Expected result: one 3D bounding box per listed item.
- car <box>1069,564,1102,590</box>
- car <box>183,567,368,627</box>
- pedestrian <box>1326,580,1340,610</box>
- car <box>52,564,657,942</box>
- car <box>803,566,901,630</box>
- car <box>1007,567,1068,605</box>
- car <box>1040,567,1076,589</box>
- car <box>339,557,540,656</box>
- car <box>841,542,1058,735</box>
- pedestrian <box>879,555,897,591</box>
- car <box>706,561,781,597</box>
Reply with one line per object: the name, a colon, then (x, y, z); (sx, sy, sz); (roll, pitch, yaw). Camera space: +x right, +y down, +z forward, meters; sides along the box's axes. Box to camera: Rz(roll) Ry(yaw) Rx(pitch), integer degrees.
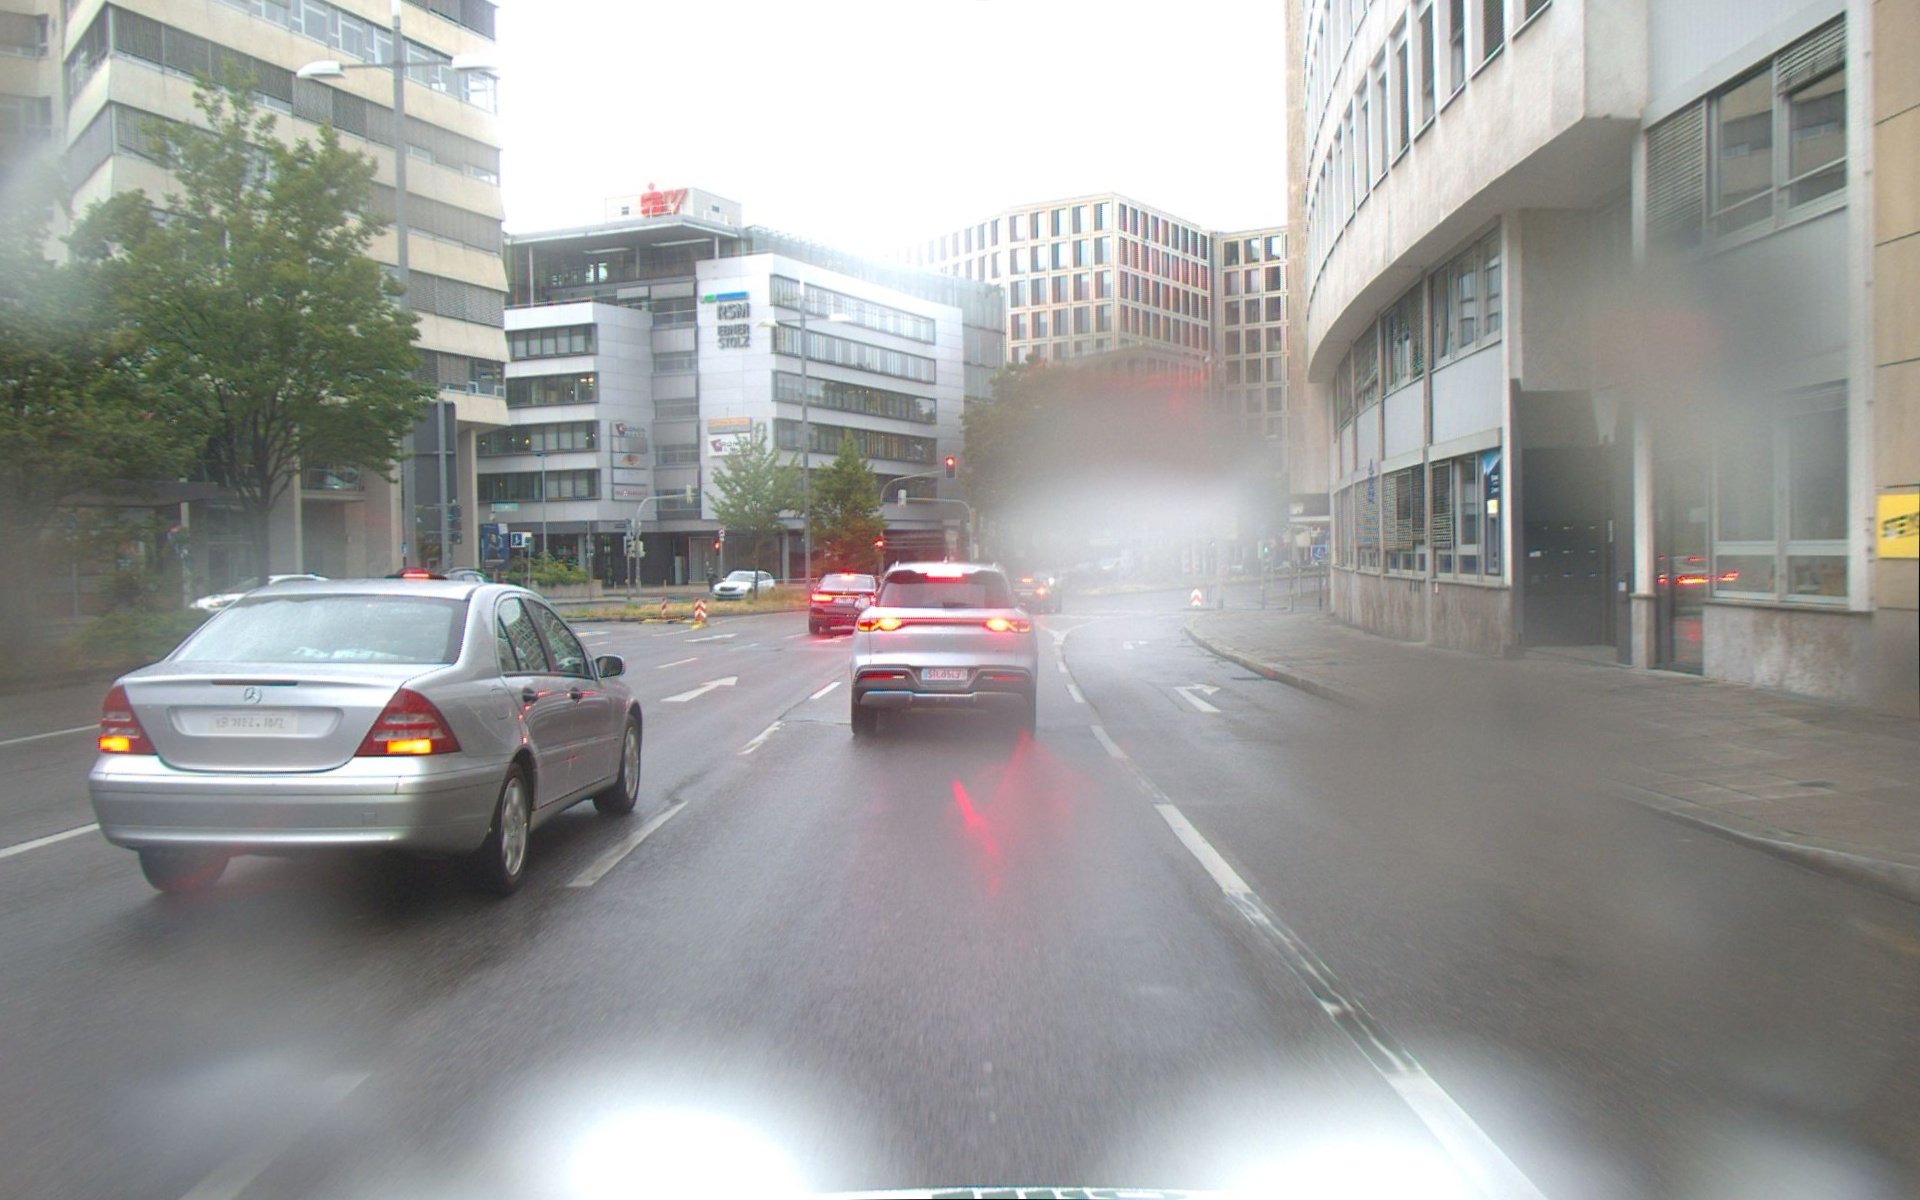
car: (11.062, -1.982, 145.701); (1.701, 2.199, 4.494); (1, 0, 21)
car: (-17.259, -0.091, 41.823); (1.656, 1.456, 4.063); (0, 1, 39)
pedestrian: (20.746, -0.279, 91.968); (0.712, 1.698, 0.691); (0, -1, 19)
car: (-2.819, 0.594, 8.753); (1.647, 1.512, 4.196); (0, 1, 0)
car: (-2.691, -0.063, 42.116); (1.914, 1.557, 4.002); (0, 0, 4)
car: (3.317, -0.583, 70.075); (1.913, 1.557, 4.004); (0, 0, 13)
car: (8.067, -1.774, 135.990); (1.701, 1.758, 4.494); (1, 0, 21)
car: (-8.850, 0.077, 28.569); (1.952, 1.571, 4.483); (0, 1, 1)
car: (-0.095, 0.323, 17.207); (1.953, 1.739, 4.482); (0, 1, 0)
pedestrian: (-3.615, -1.354, 83.378); (0.903, 1.768, 0.729); (0, 0, -2)
car: (-10.913, -1.036, 83.656); (1.702, 1.758, 4.492); (1, 0, 23)
